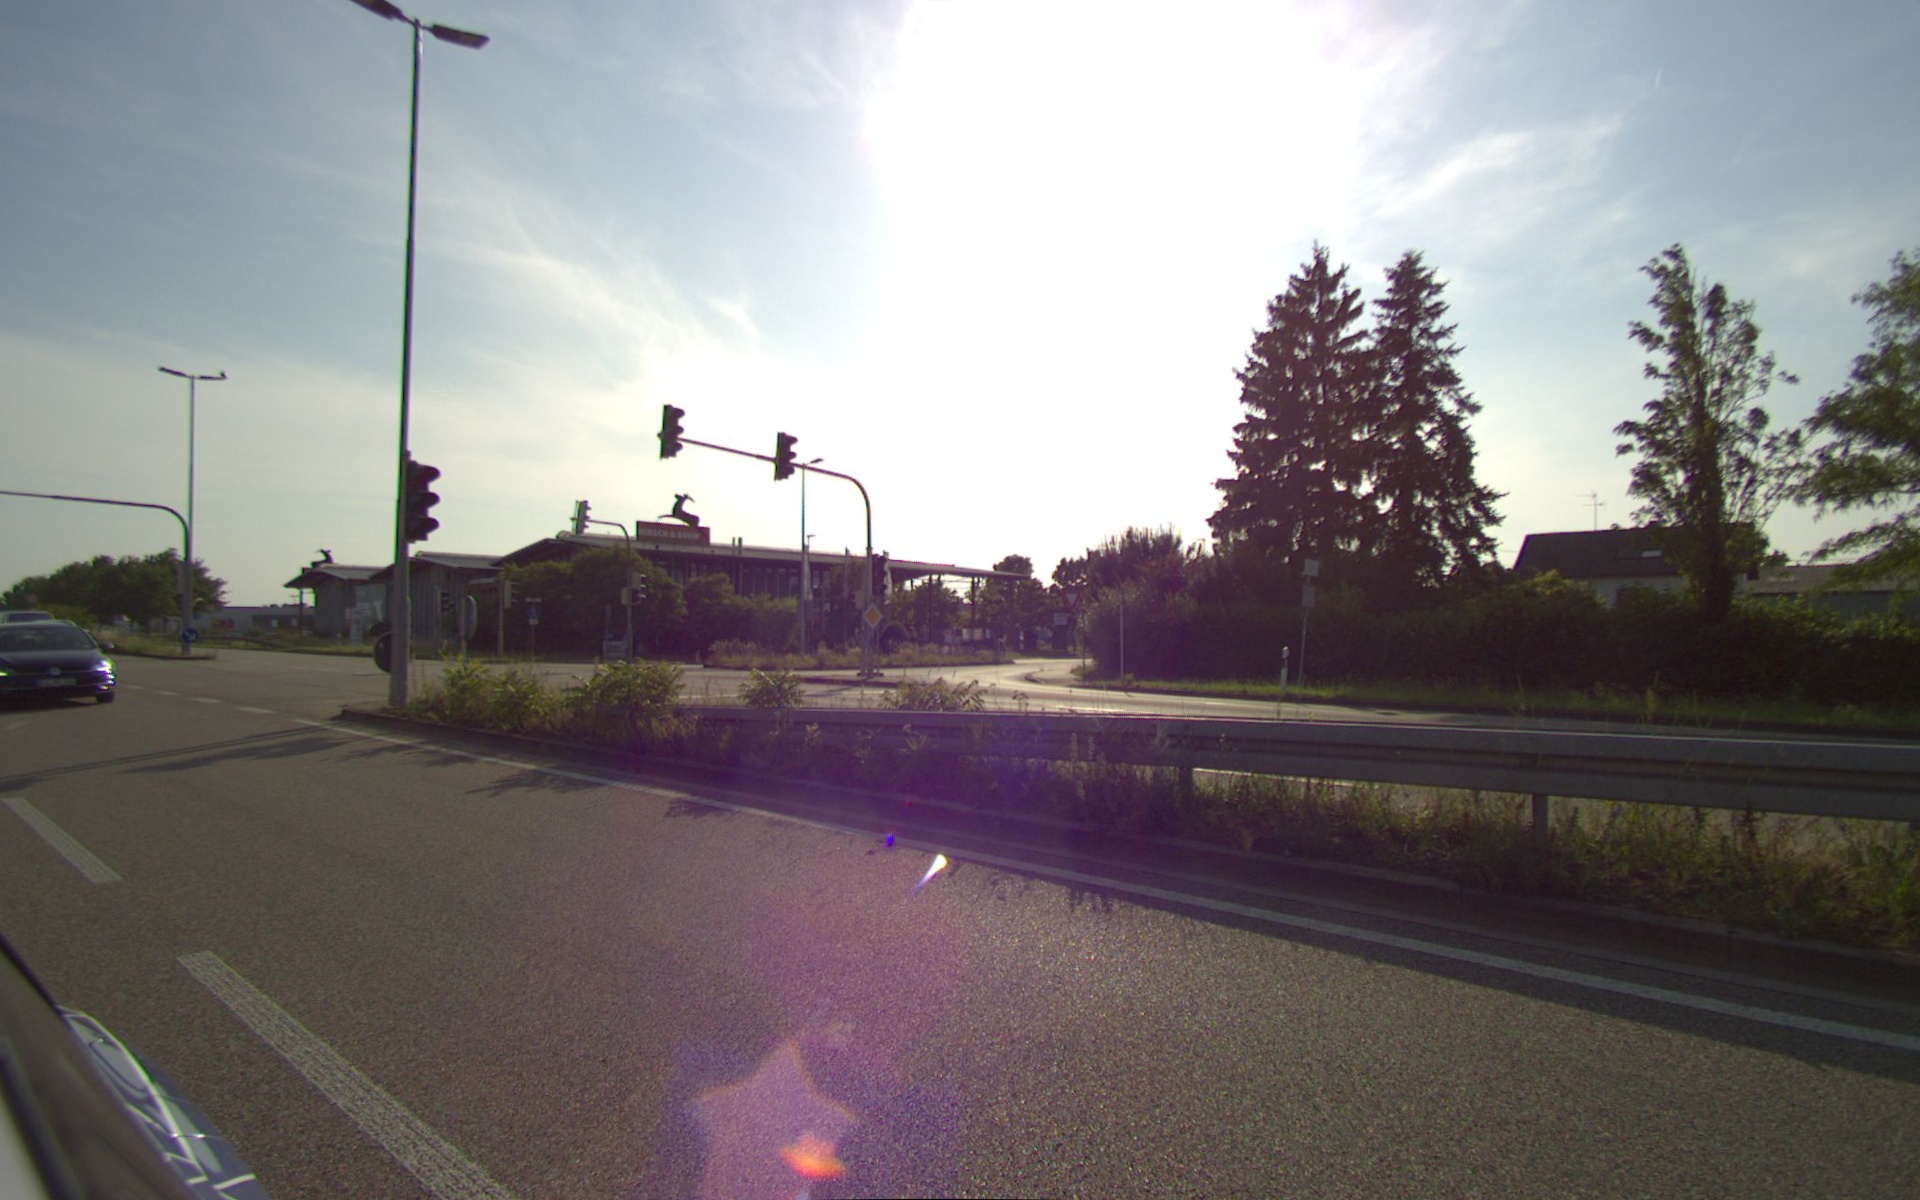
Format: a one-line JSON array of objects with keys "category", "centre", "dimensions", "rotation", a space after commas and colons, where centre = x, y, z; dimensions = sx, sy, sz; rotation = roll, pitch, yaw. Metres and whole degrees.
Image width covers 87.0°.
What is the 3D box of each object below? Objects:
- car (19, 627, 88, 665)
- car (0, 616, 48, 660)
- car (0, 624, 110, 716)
[{"category": "car", "centre": [-37.419, 1.882, 41.755], "dimensions": [3.563, 1.448, 1.689], "rotation": [-2, -2, 41]}, {"category": "car", "centre": [-41.741, 1.658, 44.722], "dimensions": [4.223, 1.848, 1.629], "rotation": [-2, -2, 41]}, {"category": "car", "centre": [-16.878, 1.186, 18.267], "dimensions": [4.774, 1.482, 1.629], "rotation": [-2, -2, 41]}]
